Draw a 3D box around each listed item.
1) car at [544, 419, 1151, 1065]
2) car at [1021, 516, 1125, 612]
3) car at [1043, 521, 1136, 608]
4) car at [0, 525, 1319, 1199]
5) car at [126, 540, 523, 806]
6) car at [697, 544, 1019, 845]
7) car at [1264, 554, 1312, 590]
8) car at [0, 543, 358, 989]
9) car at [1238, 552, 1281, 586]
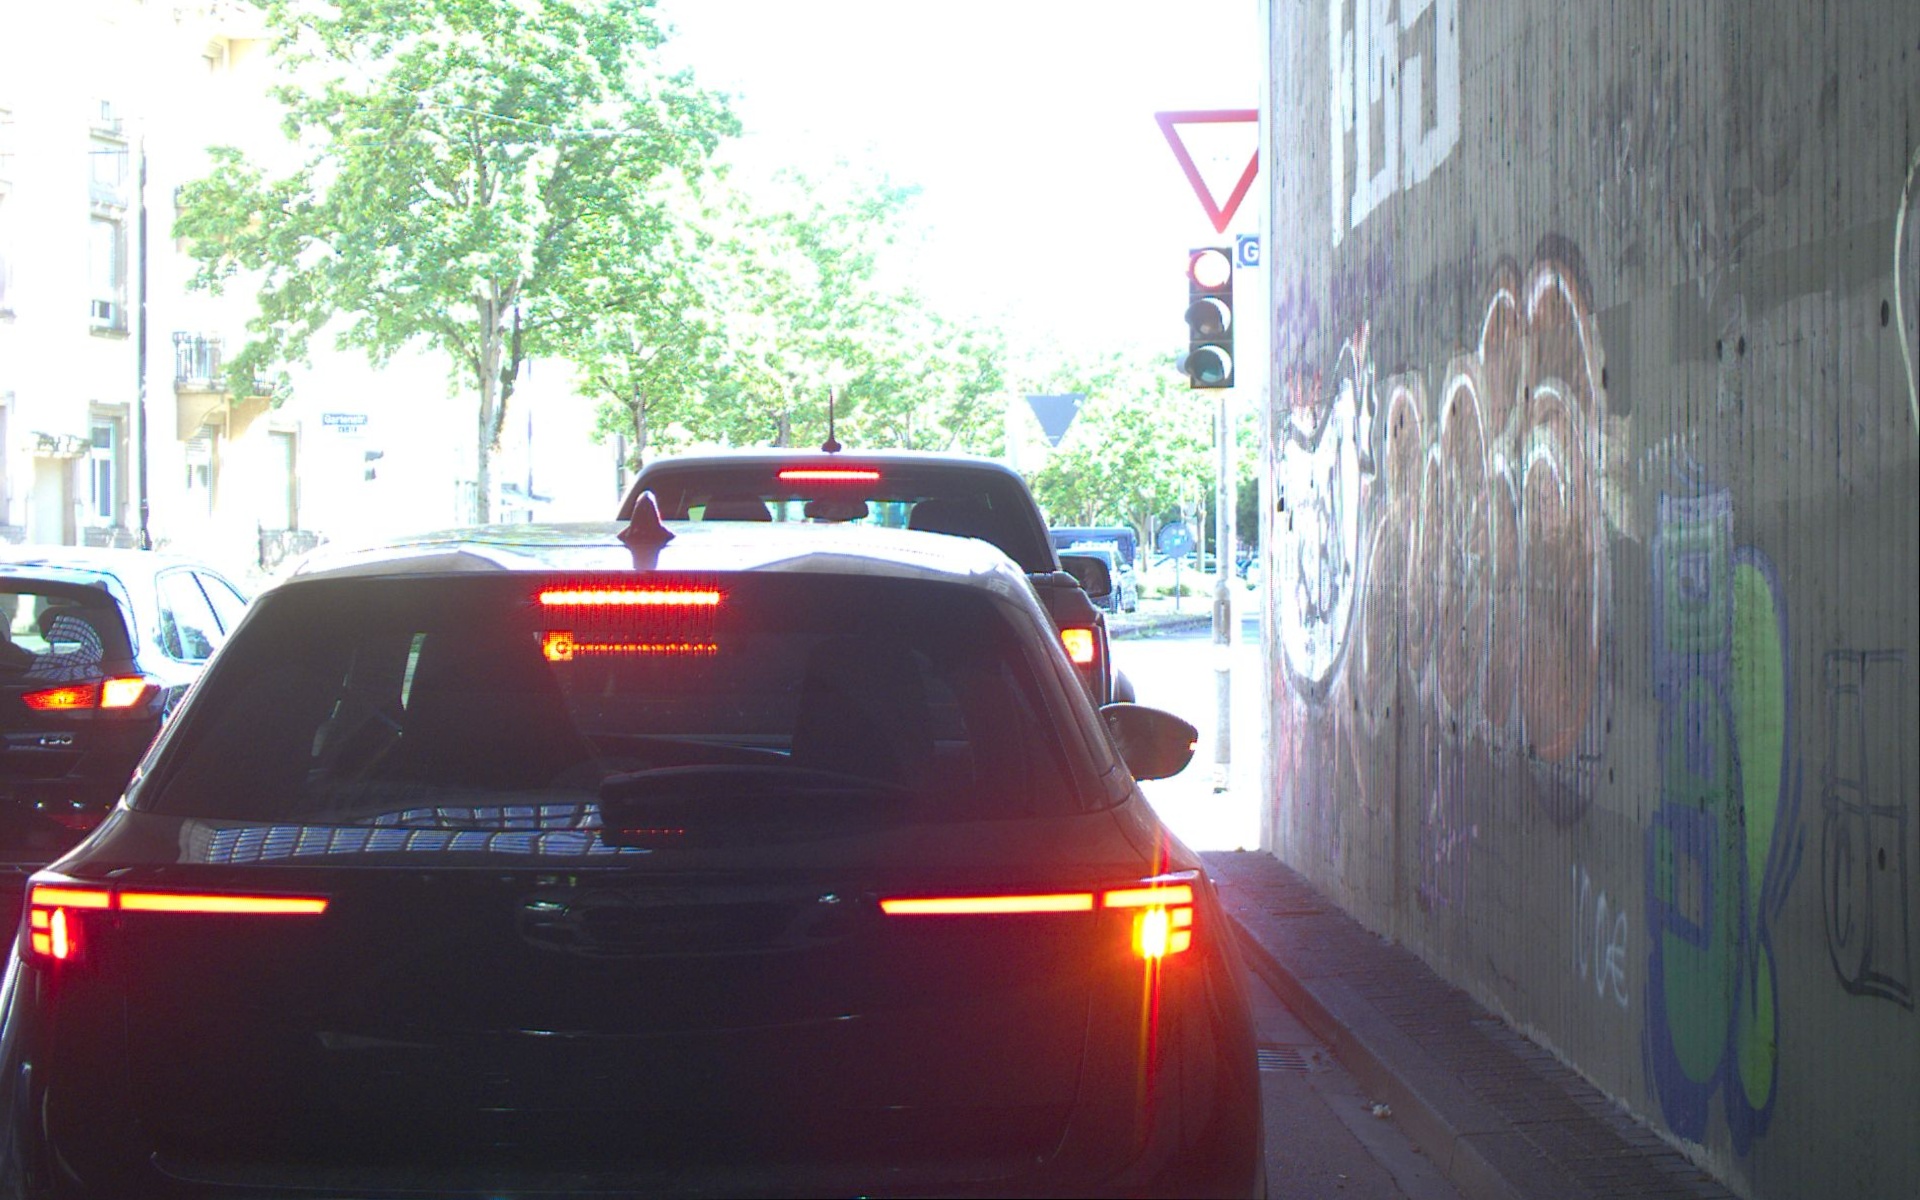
[{"bbox_3d":[-0.351,0.380,12.072,1.762,1.876,4.146,0,1,-1],"label":"car"},{"bbox_3d":[2.078,-0.647,62.227,1.754,1.661,3.944,1,1,3],"label":"car"},{"bbox_3d":[2.599,-0.700,68.346,1.754,1.661,3.944,1,1,3],"label":"car"},{"bbox_3d":[-0.479,0.642,6.132,1.762,1.526,4.089,0,1,-1],"label":"car"},{"bbox_3d":[-3.778,0.374,21.044,1.762,1.475,3.844,0,1,-1],"label":"car"},{"bbox_3d":[-0.536,0.441,19.292,1.609,1.508,4.054,0,1,-1],"label":"car"},{"bbox_3d":[15.679,-1.321,164.134,1.818,1.661,4.813,1,1,11],"label":"car"},{"bbox_3d":[-3.528,0.520,13.320,1.762,1.475,3.844,0,1,-1],"label":"car"},{"bbox_3d":[15.310,-1.589,175.632,1.754,1.661,3.943,1,1,11],"label":"car"}]
